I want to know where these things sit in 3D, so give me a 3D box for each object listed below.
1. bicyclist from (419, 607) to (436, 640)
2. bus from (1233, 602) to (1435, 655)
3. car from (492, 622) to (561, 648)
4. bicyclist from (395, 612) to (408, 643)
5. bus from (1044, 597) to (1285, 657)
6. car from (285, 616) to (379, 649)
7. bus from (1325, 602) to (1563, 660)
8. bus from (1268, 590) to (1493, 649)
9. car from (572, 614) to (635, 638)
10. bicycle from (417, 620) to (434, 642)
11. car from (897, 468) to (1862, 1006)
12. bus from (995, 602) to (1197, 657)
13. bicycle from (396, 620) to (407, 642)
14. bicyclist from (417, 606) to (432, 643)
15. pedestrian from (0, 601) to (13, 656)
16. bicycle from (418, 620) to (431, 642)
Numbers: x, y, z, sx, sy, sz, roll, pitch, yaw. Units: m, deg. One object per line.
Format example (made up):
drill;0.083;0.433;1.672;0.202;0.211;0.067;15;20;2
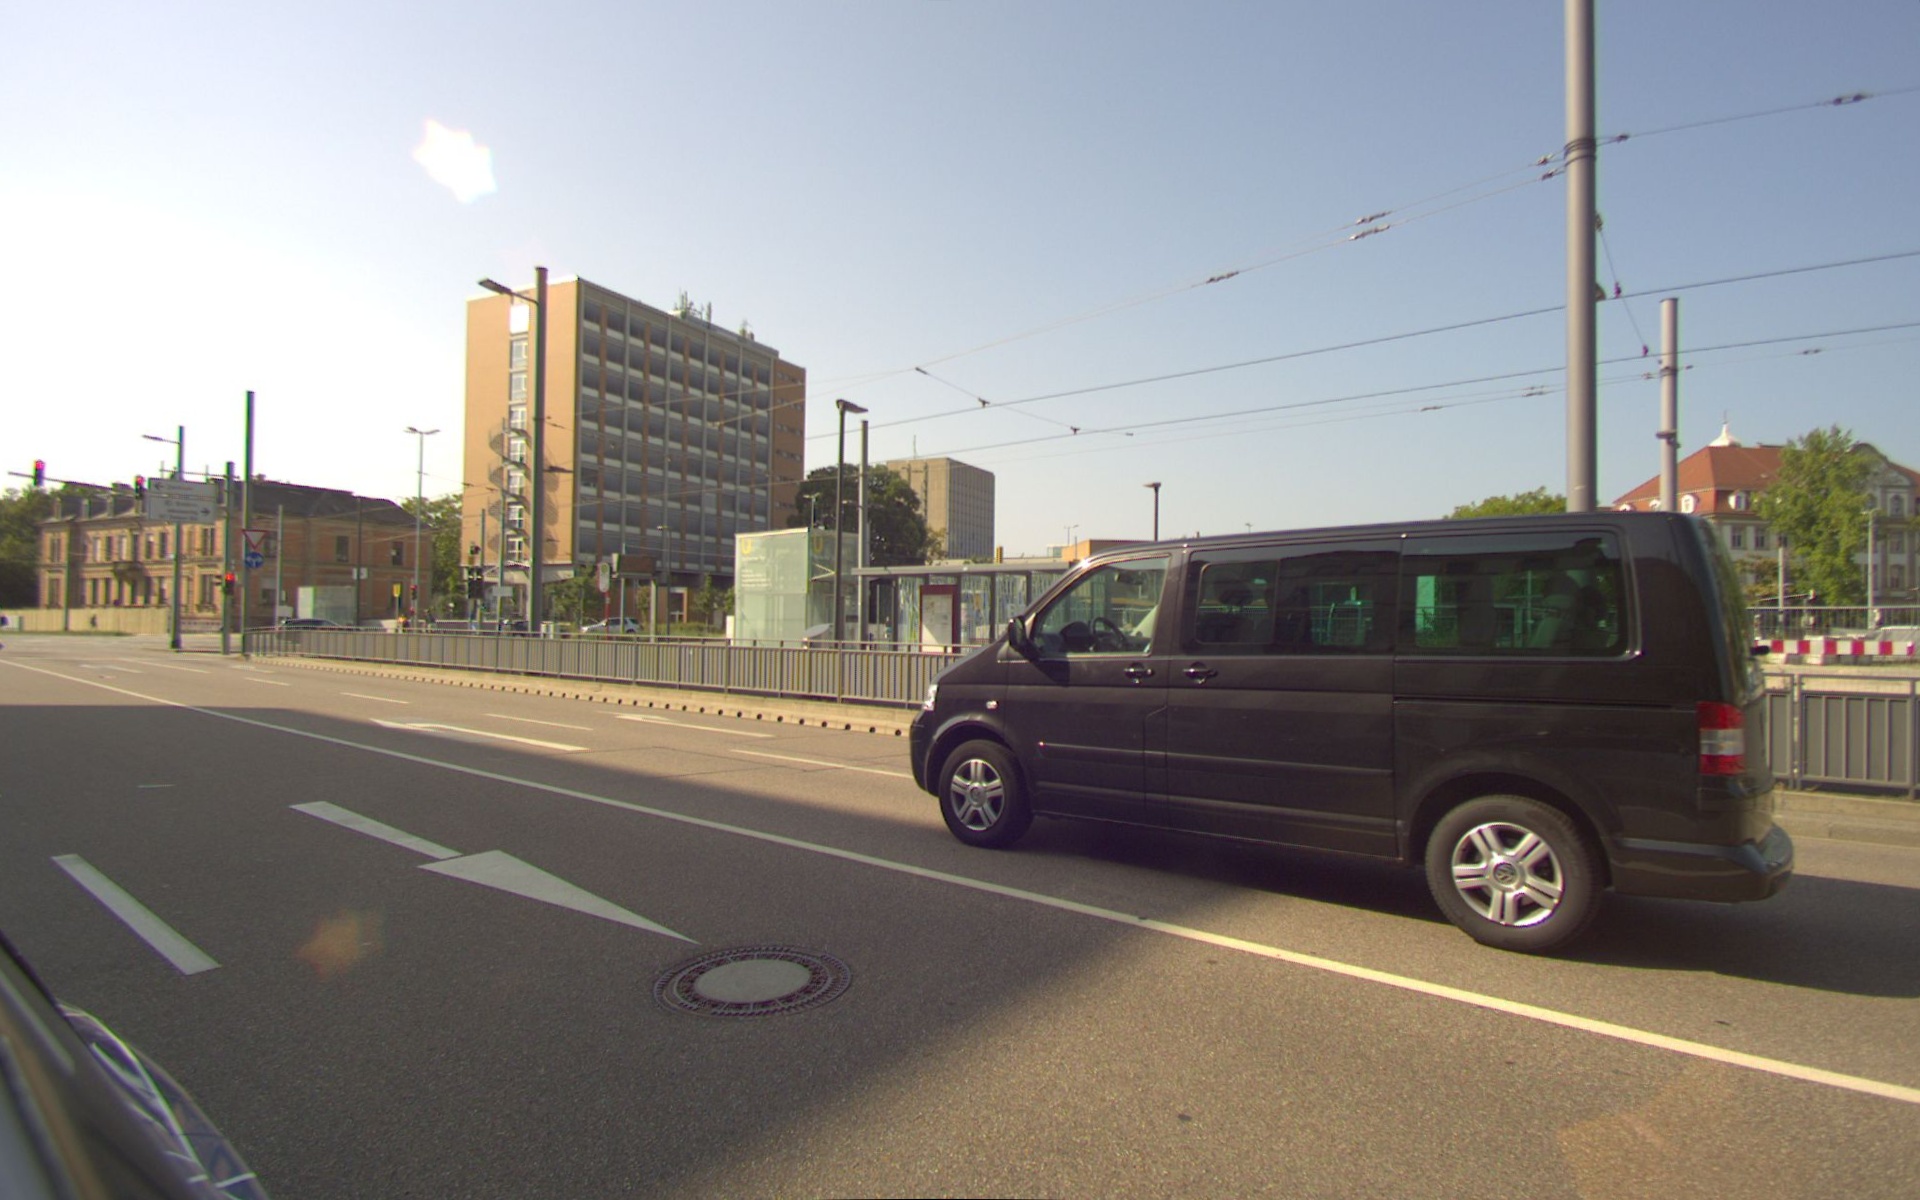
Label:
bicyclist;-27.364;1.202;51.983;0.579;1.669;0.792;2;-2;-39
bus;25.930;2.008;70.474;13.109;3.445;3.229;1;-2;-6
car;-27.926;2.274;65.260;3.931;1.608;2.006;2;-2;-27
bicyclist;-30.031;1.471;54.397;0.503;1.642;0.809;2;-3;-35
bus;11.637;1.571;57.961;13.106;3.203;3.230;1;-2;-8
car;-36.597;1.905;59.118;4.496;1.866;2.006;2;-2;-28
bus;28.627;1.877;60.002;13.104;3.203;3.231;1;-2;-8
bus;26.479;1.286;63.972;13.109;3.445;3.229;1;-2;-6
car;-27.675;2.026;78.544;4.218;1.720;1.957;2;-4;-34
bicycle;-27.463;1.589;52.021;0.396;1.118;1.749;2;-2;-39
car;2.035;0.554;5.908;4.712;1.919;1.973;-1;-3;40
bus;9.162;2.013;68.671;13.109;3.445;3.229;1;-2;-6
bicycle;-30.050;1.688;54.447;0.306;1.174;1.503;1;-3;-34
bicyclist;-29.243;1.335;55.248;0.571;1.989;0.809;2;-3;-35
pedestrian;-32.139;0.924;33.625;0.822;1.802;0.730;6;-5;-42
bicycle;-29.170;1.712;55.127;0.371;1.174;1.864;1;-2;-34
